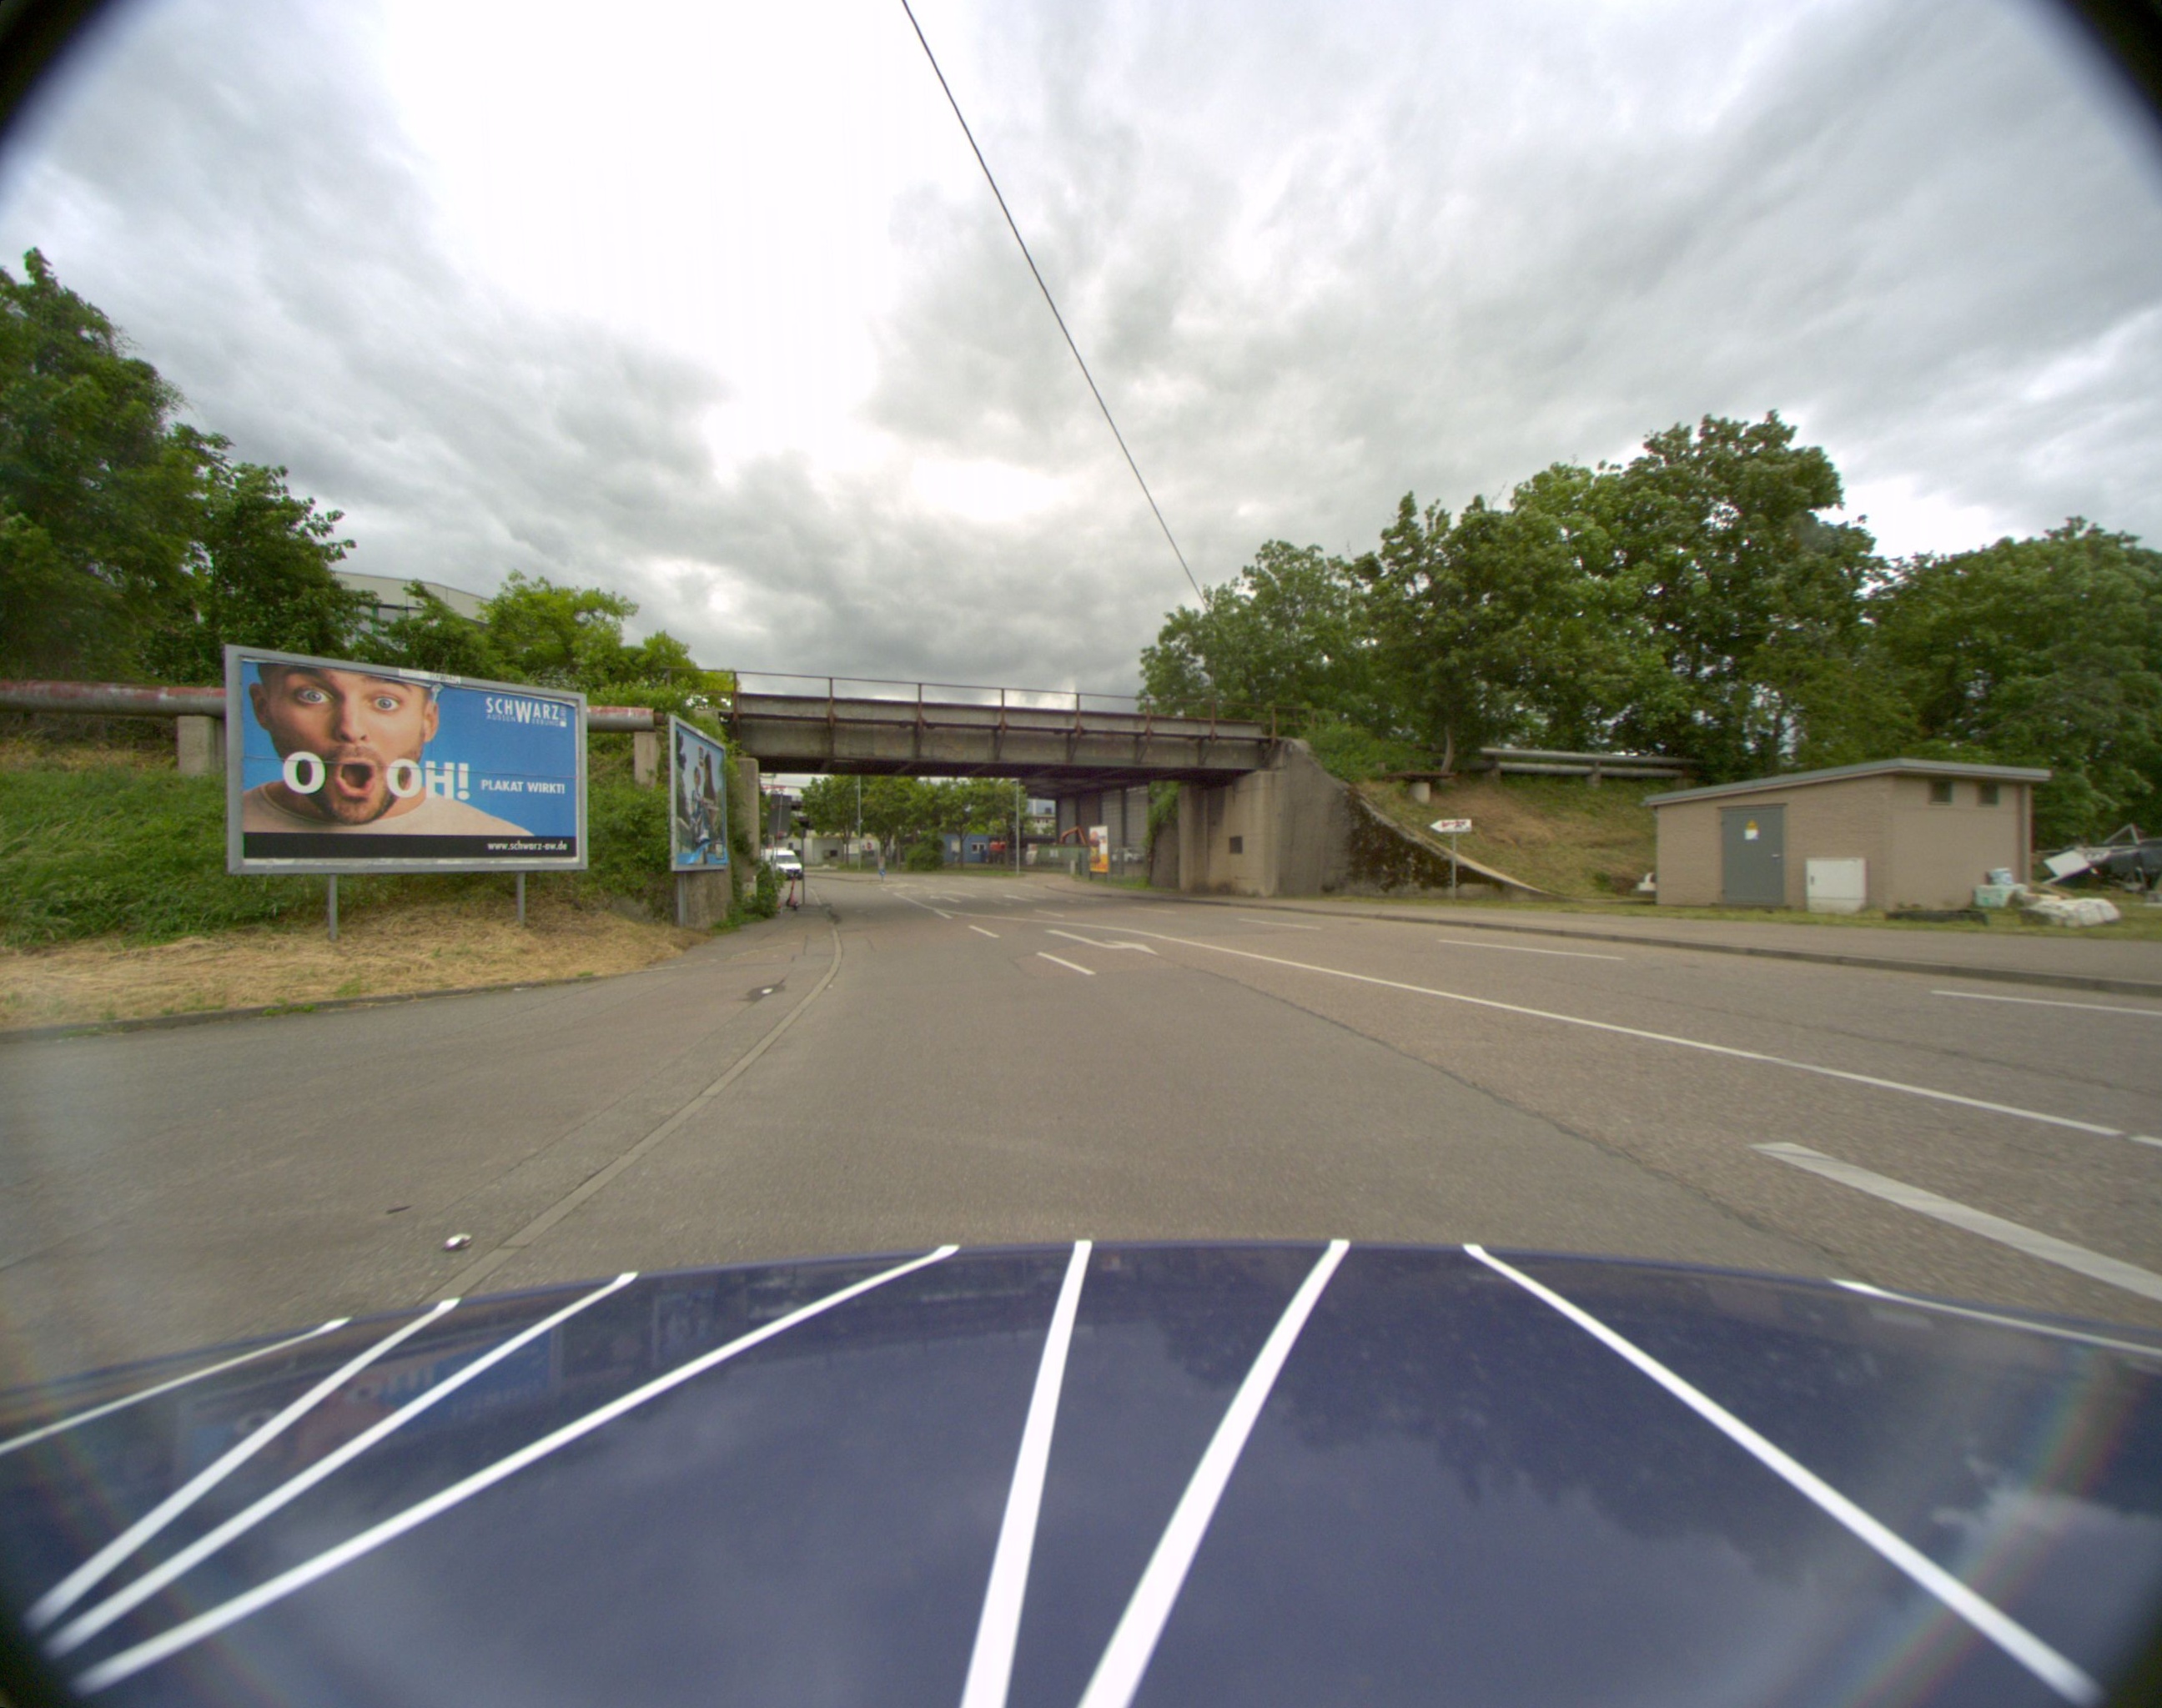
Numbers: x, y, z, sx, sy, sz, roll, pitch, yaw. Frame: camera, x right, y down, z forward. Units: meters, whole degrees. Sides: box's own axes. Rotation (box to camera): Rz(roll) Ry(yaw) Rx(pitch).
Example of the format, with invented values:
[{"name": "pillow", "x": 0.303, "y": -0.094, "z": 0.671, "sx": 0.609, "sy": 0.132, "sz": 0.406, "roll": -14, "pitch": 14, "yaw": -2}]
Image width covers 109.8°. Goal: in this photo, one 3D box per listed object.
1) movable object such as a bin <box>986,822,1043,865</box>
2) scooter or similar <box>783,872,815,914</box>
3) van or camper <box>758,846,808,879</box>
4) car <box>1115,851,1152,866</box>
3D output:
[{"name": "movable object such as a bin", "x": -6.790, "y": -0.938, "z": 76.554, "sx": 2.739, "sy": 4.066, "sz": 6.536, "roll": 0, "pitch": -1, "yaw": -35}, {"name": "scooter or similar", "x": -8.835, "y": 1.195, "z": 23.813, "sx": 0.506, "sy": 1.228, "sz": 1.665, "roll": 4, "pitch": -2, "yaw": -34}, {"name": "van or camper", "x": -24.145, "y": 0.622, "z": 61.456, "sx": 2.277, "sy": 2.542, "sz": 6.091, "roll": -2, "pitch": 1, "yaw": -36}, {"name": "car", "x": 4.956, "y": 0.417, "z": 72.186, "sx": 1.741, "sy": 1.366, "sz": 3.991, "roll": 0, "pitch": 0, "yaw": -28}]
